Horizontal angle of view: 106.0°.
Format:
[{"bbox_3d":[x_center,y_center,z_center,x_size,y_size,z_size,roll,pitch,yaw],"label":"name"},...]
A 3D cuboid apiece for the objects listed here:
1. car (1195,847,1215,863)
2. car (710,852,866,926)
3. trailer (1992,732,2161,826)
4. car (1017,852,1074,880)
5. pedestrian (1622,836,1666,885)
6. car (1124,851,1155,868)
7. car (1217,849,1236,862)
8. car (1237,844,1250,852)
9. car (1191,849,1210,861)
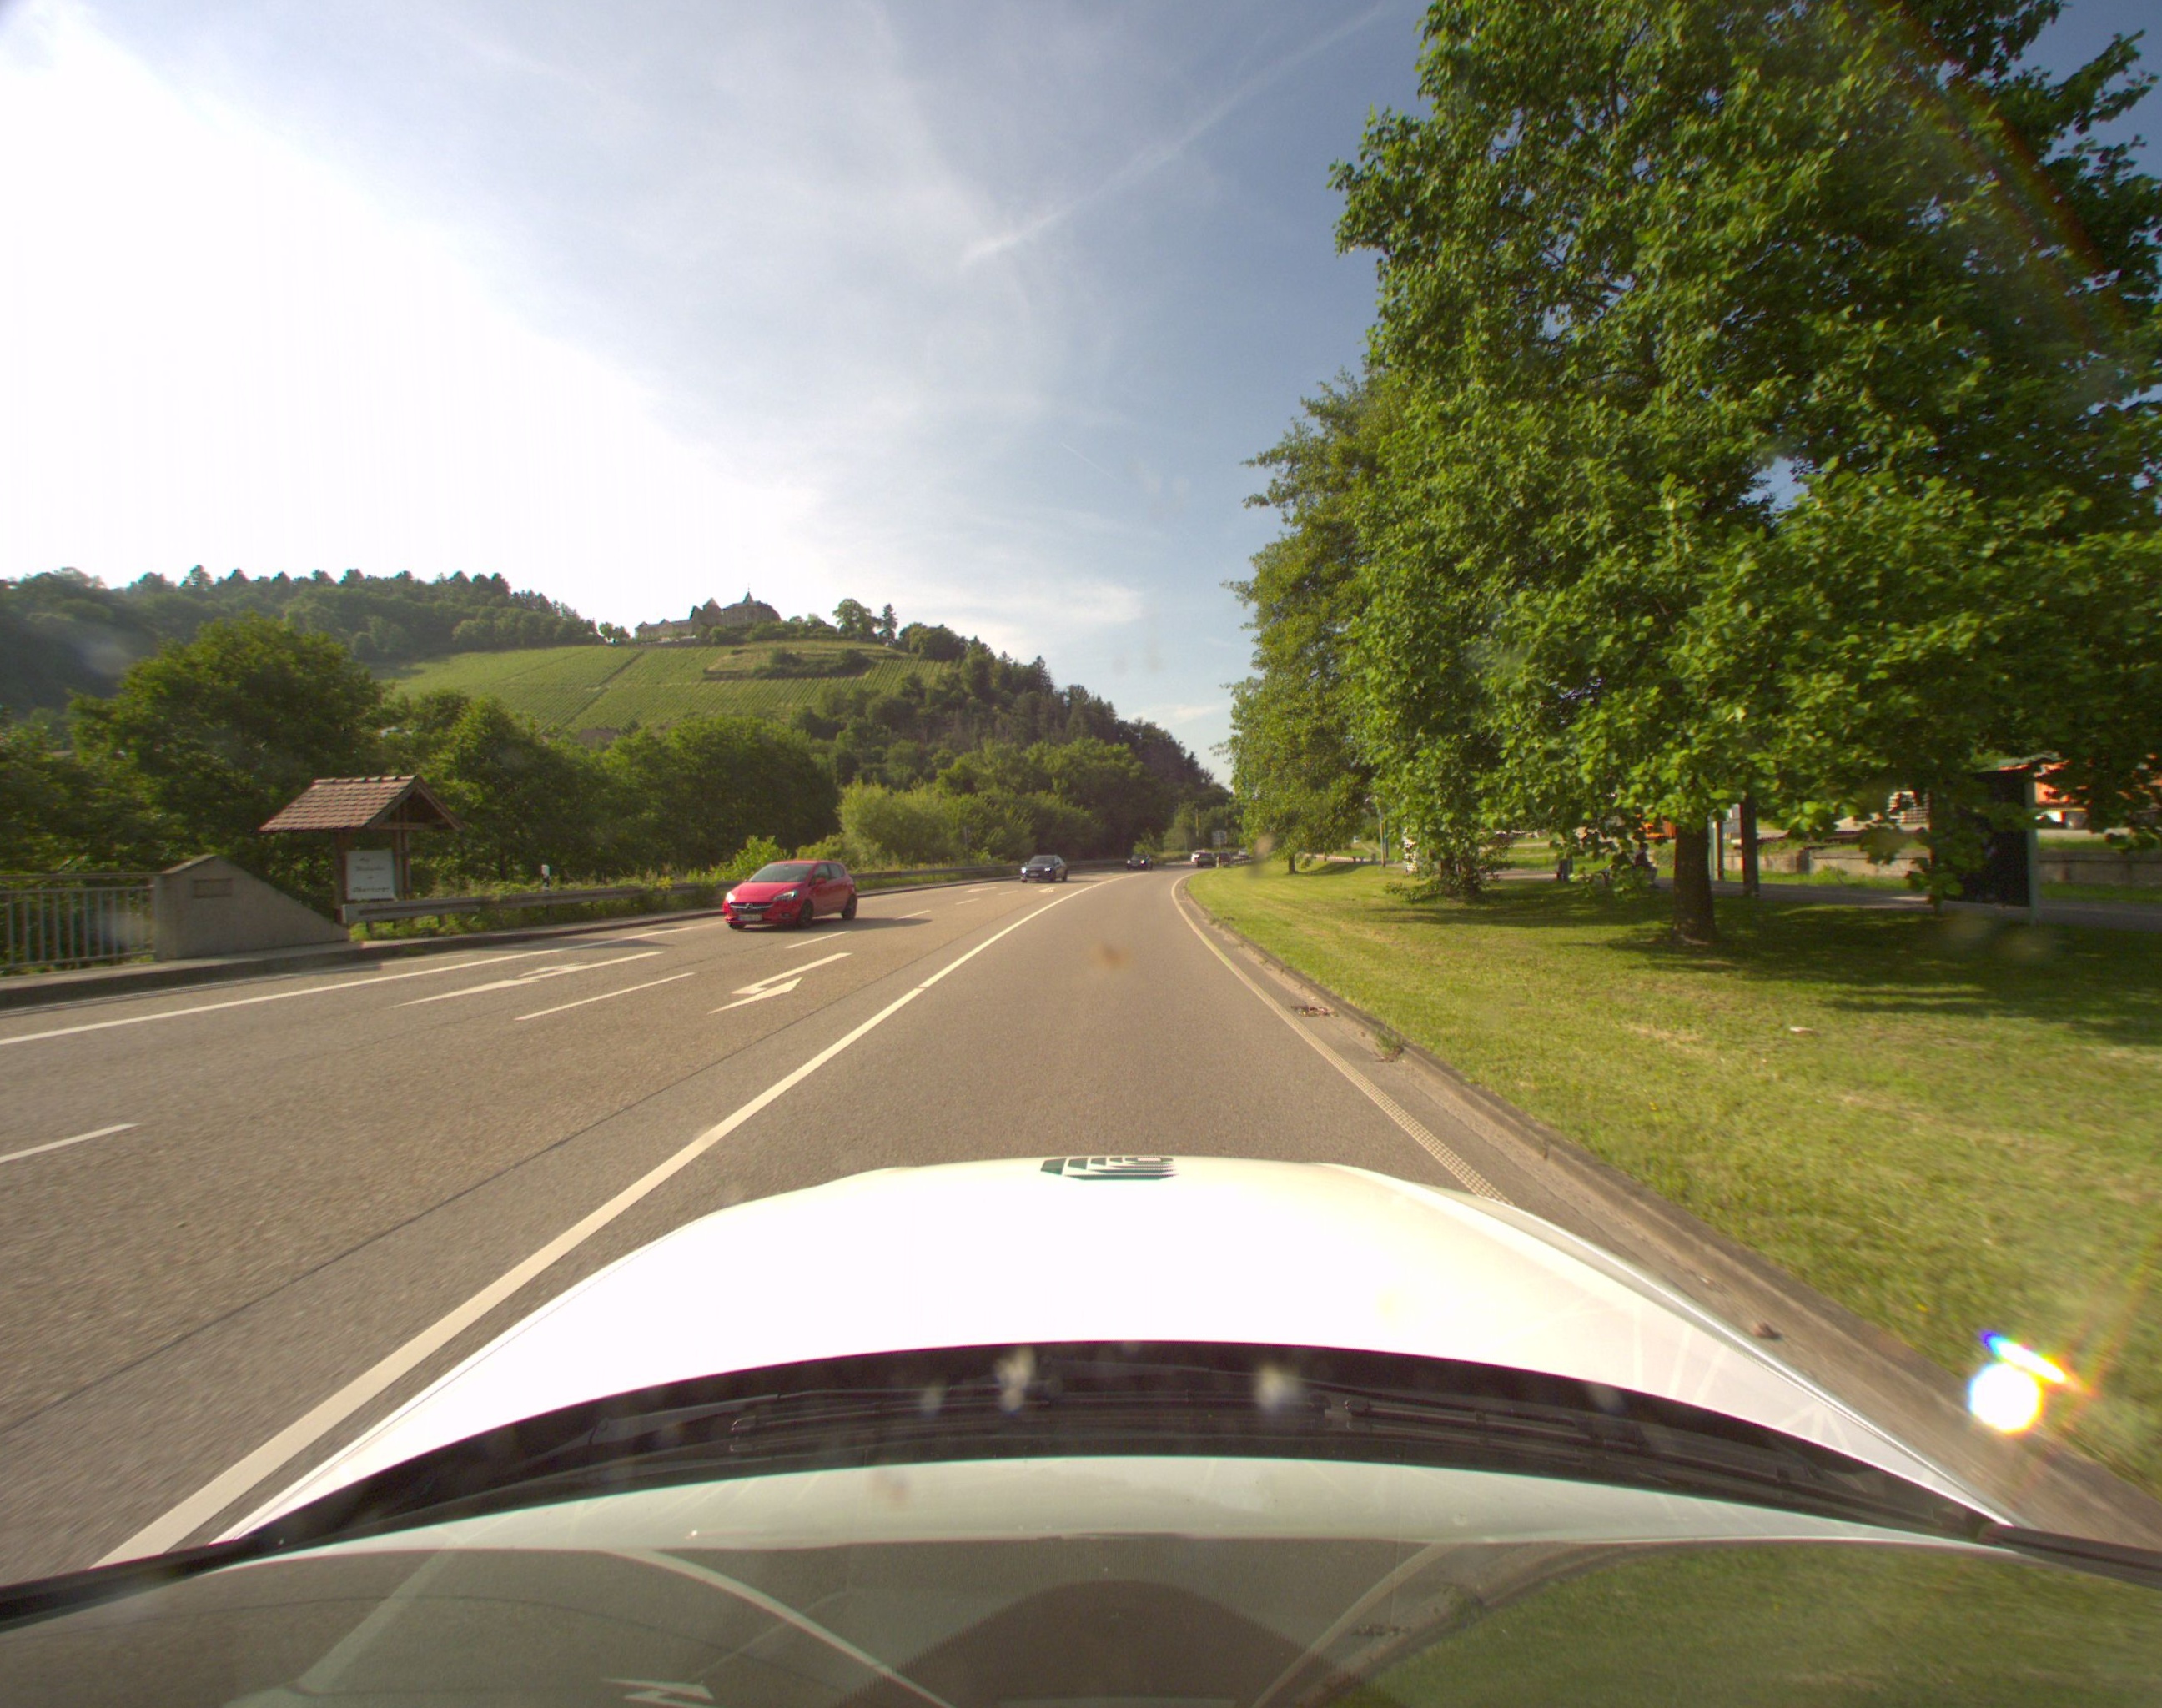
[{"bbox_3d":[12.208,0.067,79.924,1.717,1.457,3.421,-3,0,11],"label":"car"},{"bbox_3d":[-6.467,0.712,18.508,1.667,1.460,4.208,-1,0,5],"label":"car"},{"bbox_3d":[48.520,-3.438,39.576,2.583,3.893,7.777,-3,0,25],"label":"trailer"},{"bbox_3d":[-1.892,0.630,45.017,1.837,1.469,4.561,0,0,15],"label":"car"},{"bbox_3d":[14.107,0.162,20.418,0.631,1.161,0.729,-3,0,14],"label":"pedestrian"},{"bbox_3d":[5.257,0.466,72.556,1.680,1.402,4.222,-1,0,19],"label":"car"},{"bbox_3d":[17.719,0.209,98.955,1.826,1.459,3.728,-3,0,16],"label":"car"},{"bbox_3d":[28.852,-1.017,144.449,1.635,1.436,4.627,0,1,18],"label":"car"},{"bbox_3d":[15.618,0.055,106.361,1.930,1.486,4.604,-1,1,15],"label":"car"}]
